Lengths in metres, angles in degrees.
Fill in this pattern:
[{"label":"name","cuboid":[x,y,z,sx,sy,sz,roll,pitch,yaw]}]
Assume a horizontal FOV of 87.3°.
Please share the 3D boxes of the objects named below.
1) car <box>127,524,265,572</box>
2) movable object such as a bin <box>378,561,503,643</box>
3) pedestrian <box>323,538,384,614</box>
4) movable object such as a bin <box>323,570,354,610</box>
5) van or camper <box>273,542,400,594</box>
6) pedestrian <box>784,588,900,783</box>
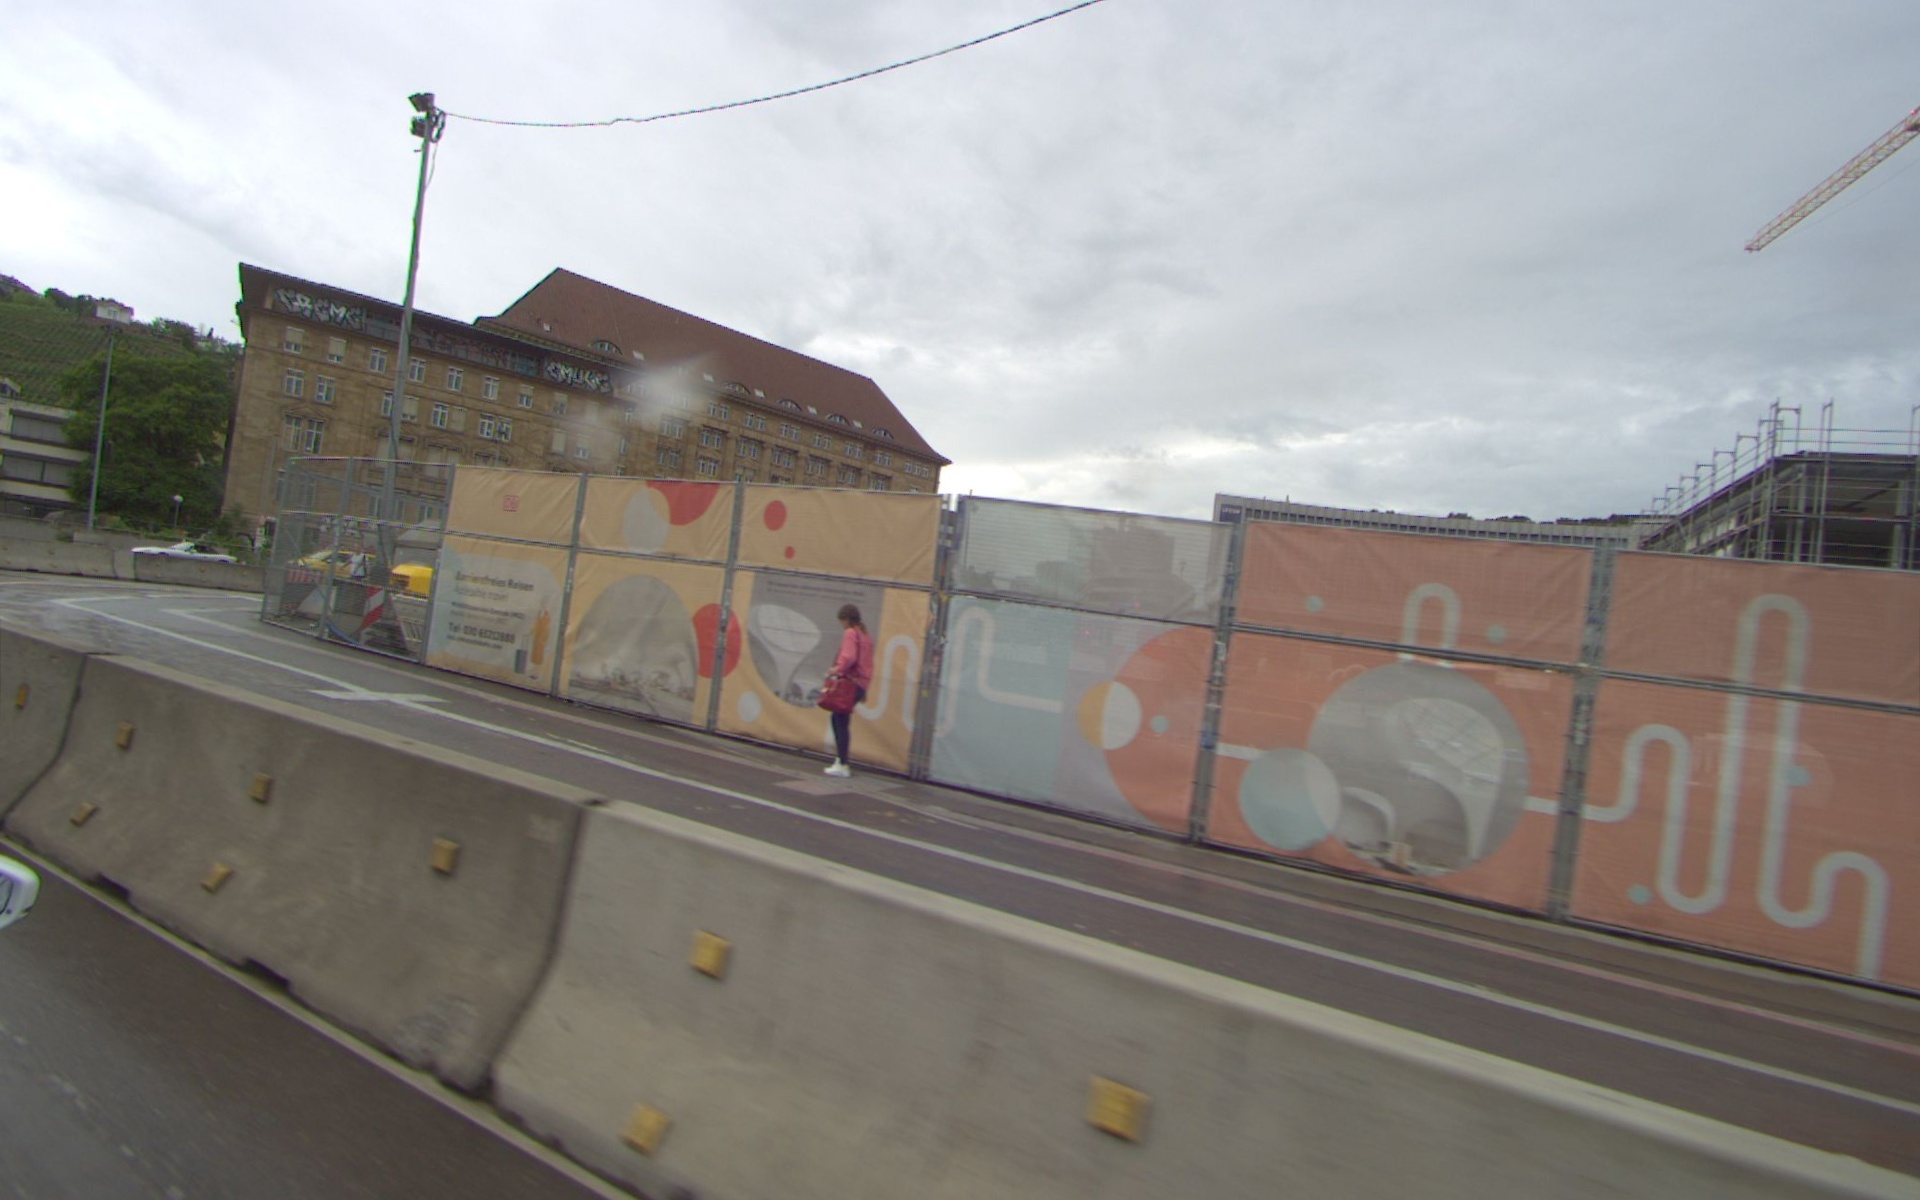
[{"label":"car","cuboid":[-33.690,-2.267,44.523,1.614,1.324,4.527,7,-3,29]},{"label":"movable object such as a bin","cuboid":[-10.766,0.064,20.899,1.169,1.489,1.890,5,-1,34]},{"label":"pedestrian","cuboid":[-16.458,-0.637,27.312,0.986,1.887,0.778,8,-1,-9]},{"label":"movable object such as a bin","cuboid":[-17.012,-0.273,27.539,0.425,1.028,0.521,7,-1,-9]},{"label":"van or camper","cuboid":[-35.208,-1.784,57.006,2.208,2.077,5.603,7,-2,30]},{"label":"pedestrian","cuboid":[-1.219,0.884,10.486,0.697,1.887,0.721,7,-1,27]}]
